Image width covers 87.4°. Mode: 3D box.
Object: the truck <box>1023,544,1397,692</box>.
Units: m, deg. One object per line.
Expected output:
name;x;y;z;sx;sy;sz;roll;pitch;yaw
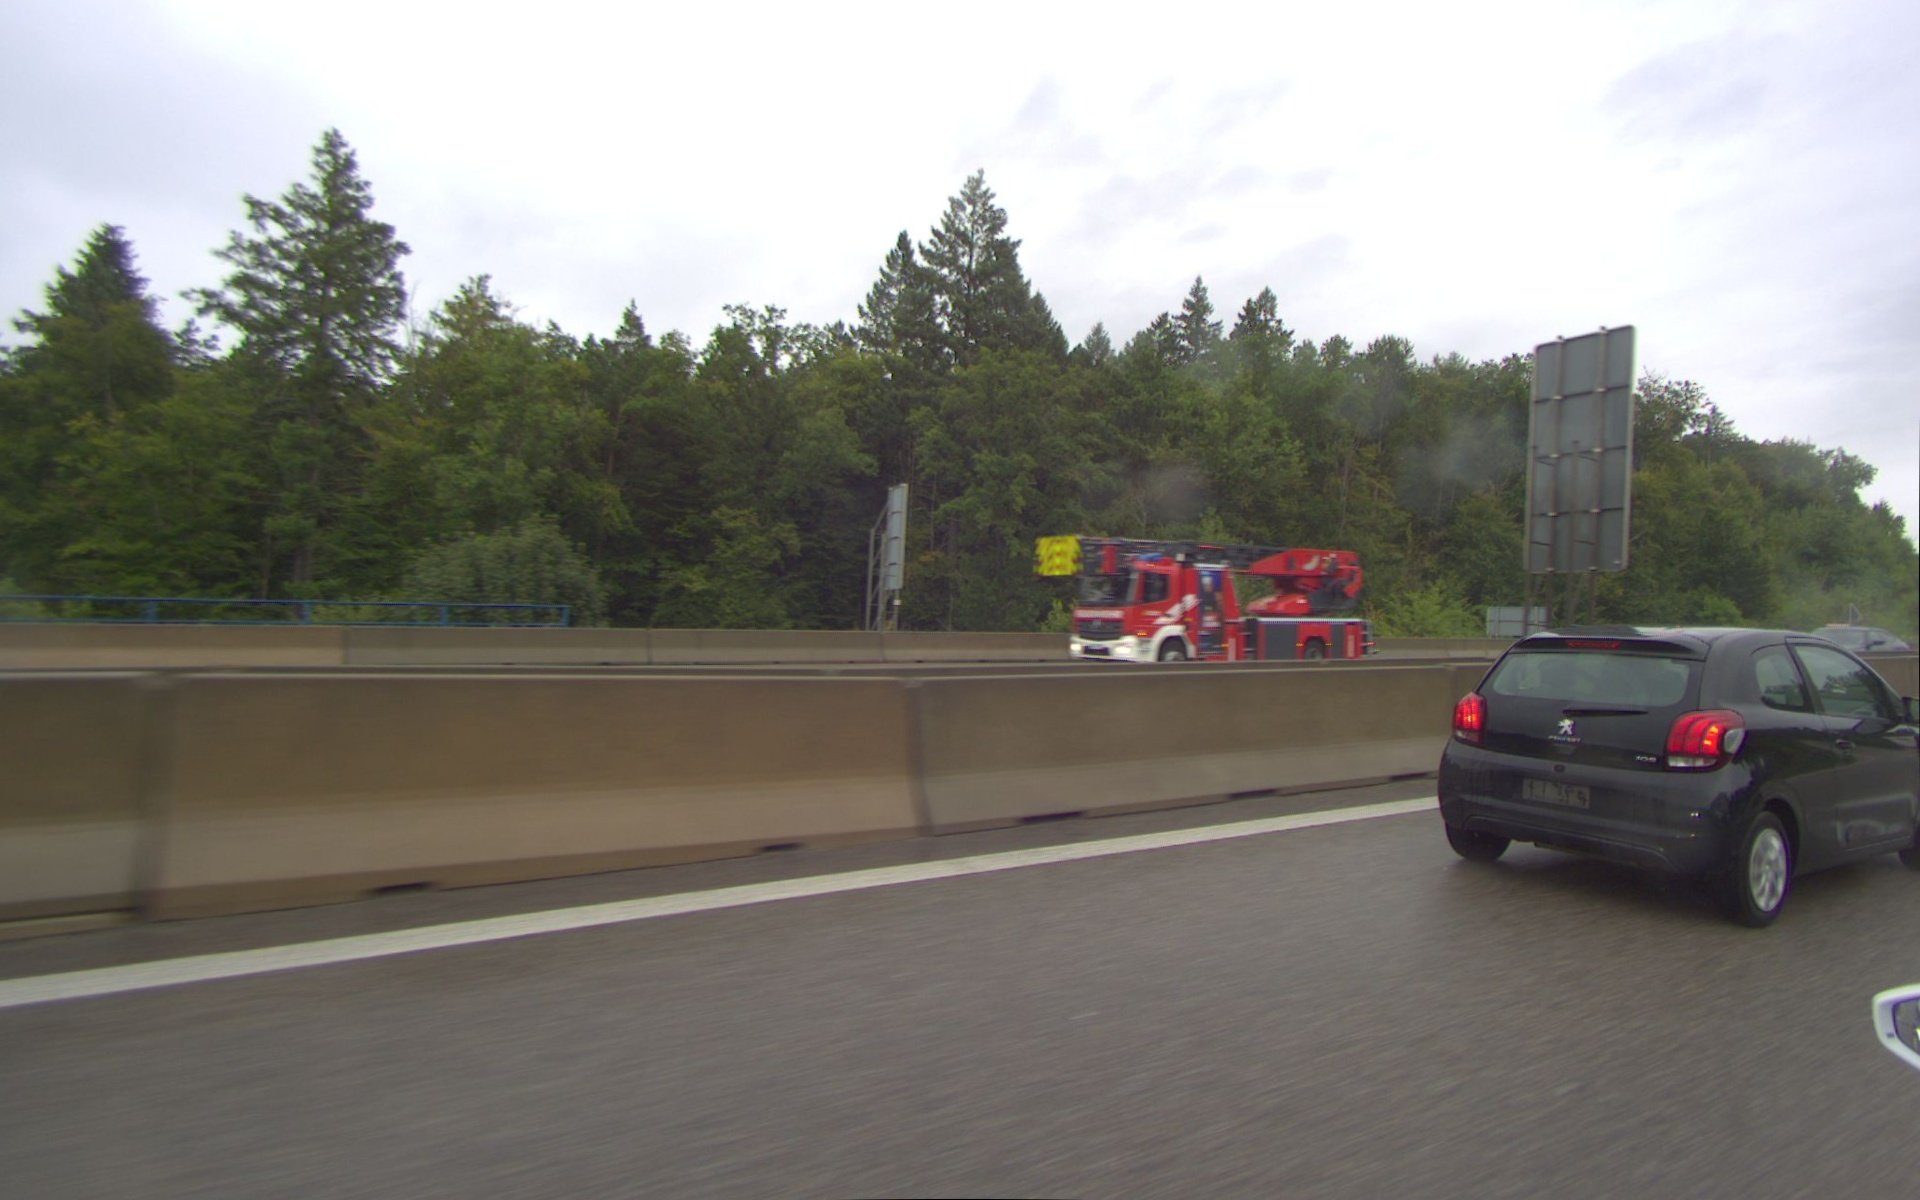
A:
truck;6.639;0.474;25.444;10.536;3.216;2.421;1;-1;-30

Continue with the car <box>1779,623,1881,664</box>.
car;38.710;1.899;44.683;4.916;1.722;1.984;1;-2;-31

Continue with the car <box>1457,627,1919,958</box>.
car;4.955;0.928;6.331;3.644;1.482;1.674;1;0;-33

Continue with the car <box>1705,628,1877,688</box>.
car;21.727;1.451;26.223;4.695;1.409;1.984;1;-1;-30
